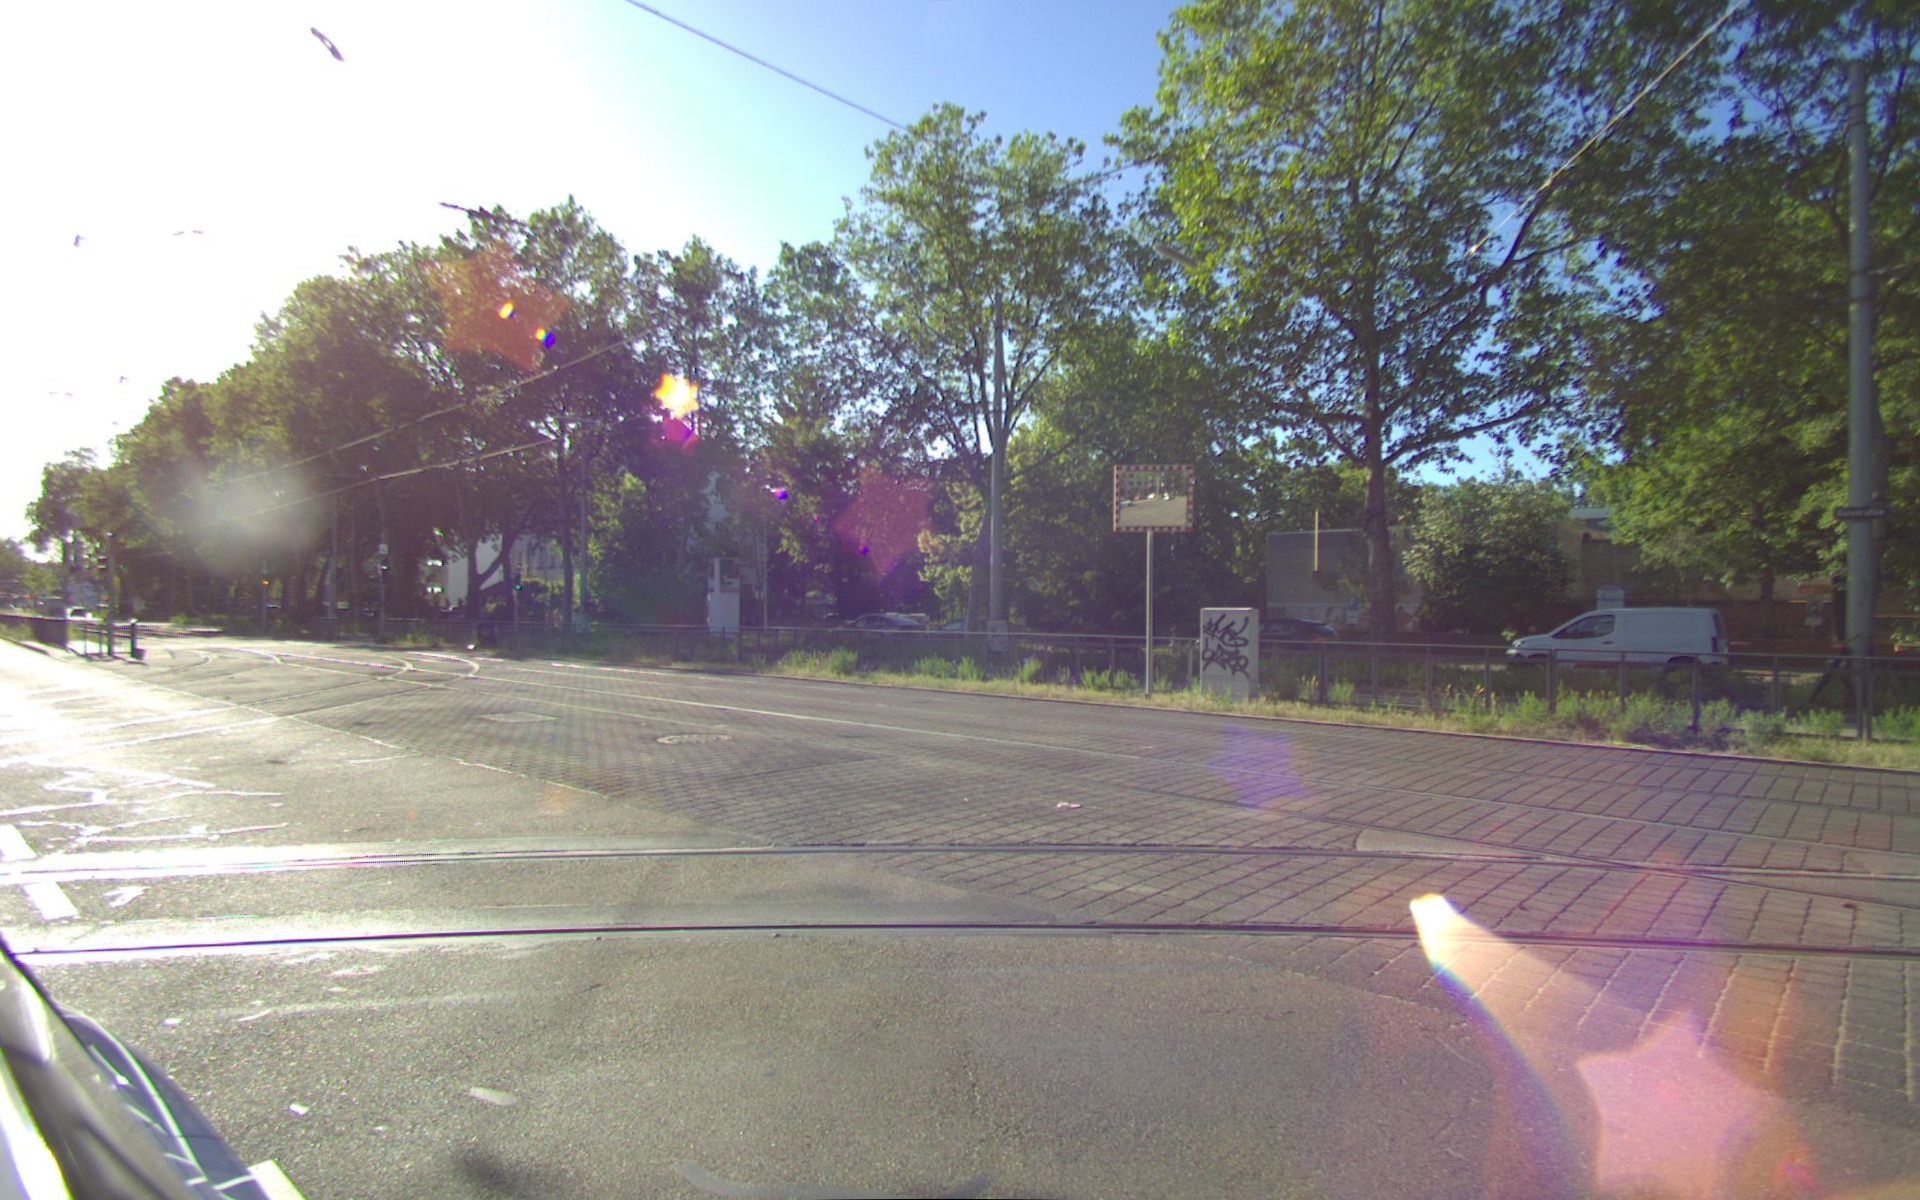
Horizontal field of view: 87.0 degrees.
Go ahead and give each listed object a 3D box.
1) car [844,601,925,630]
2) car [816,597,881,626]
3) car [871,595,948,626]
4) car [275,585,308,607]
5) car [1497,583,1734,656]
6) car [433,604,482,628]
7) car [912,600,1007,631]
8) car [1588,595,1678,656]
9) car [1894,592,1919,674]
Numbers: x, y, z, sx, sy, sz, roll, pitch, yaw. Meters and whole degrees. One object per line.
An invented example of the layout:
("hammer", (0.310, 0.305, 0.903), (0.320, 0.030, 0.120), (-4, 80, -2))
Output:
("car", (-3.018, 0.598, 40.035), (3.130, 1.057, 1.483), (-1, 2, 44))
("car", (-5.993, 0.597, 54.121), (1.610, 1.406, 3.486), (-3, 2, -44))
("car", (-2.549, 0.518, 50.938), (3.741, 1.482, 1.722), (-1, 2, 43))
("car", (-57.452, -0.331, 86.904), (1.721, 1.806, 3.744), (0, -1, -44))
("car", (15.058, 0.414, 23.403), (4.348, 1.482, 1.722), (-1, 2, 44))
("car", (-34.158, 1.069, 68.775), (3.755, 1.482, 1.700), (-1, 2, 41))
("car", (-0.036, 0.542, 37.112), (3.405, 1.037, 1.464), (-1, 2, 44))
("car", (21.412, 0.749, 32.156), (3.891, 1.831, 1.617), (0, 0, -44))
("car", (19.670, 0.607, 18.416), (1.573, 1.482, 3.825), (-3, 2, -43))
